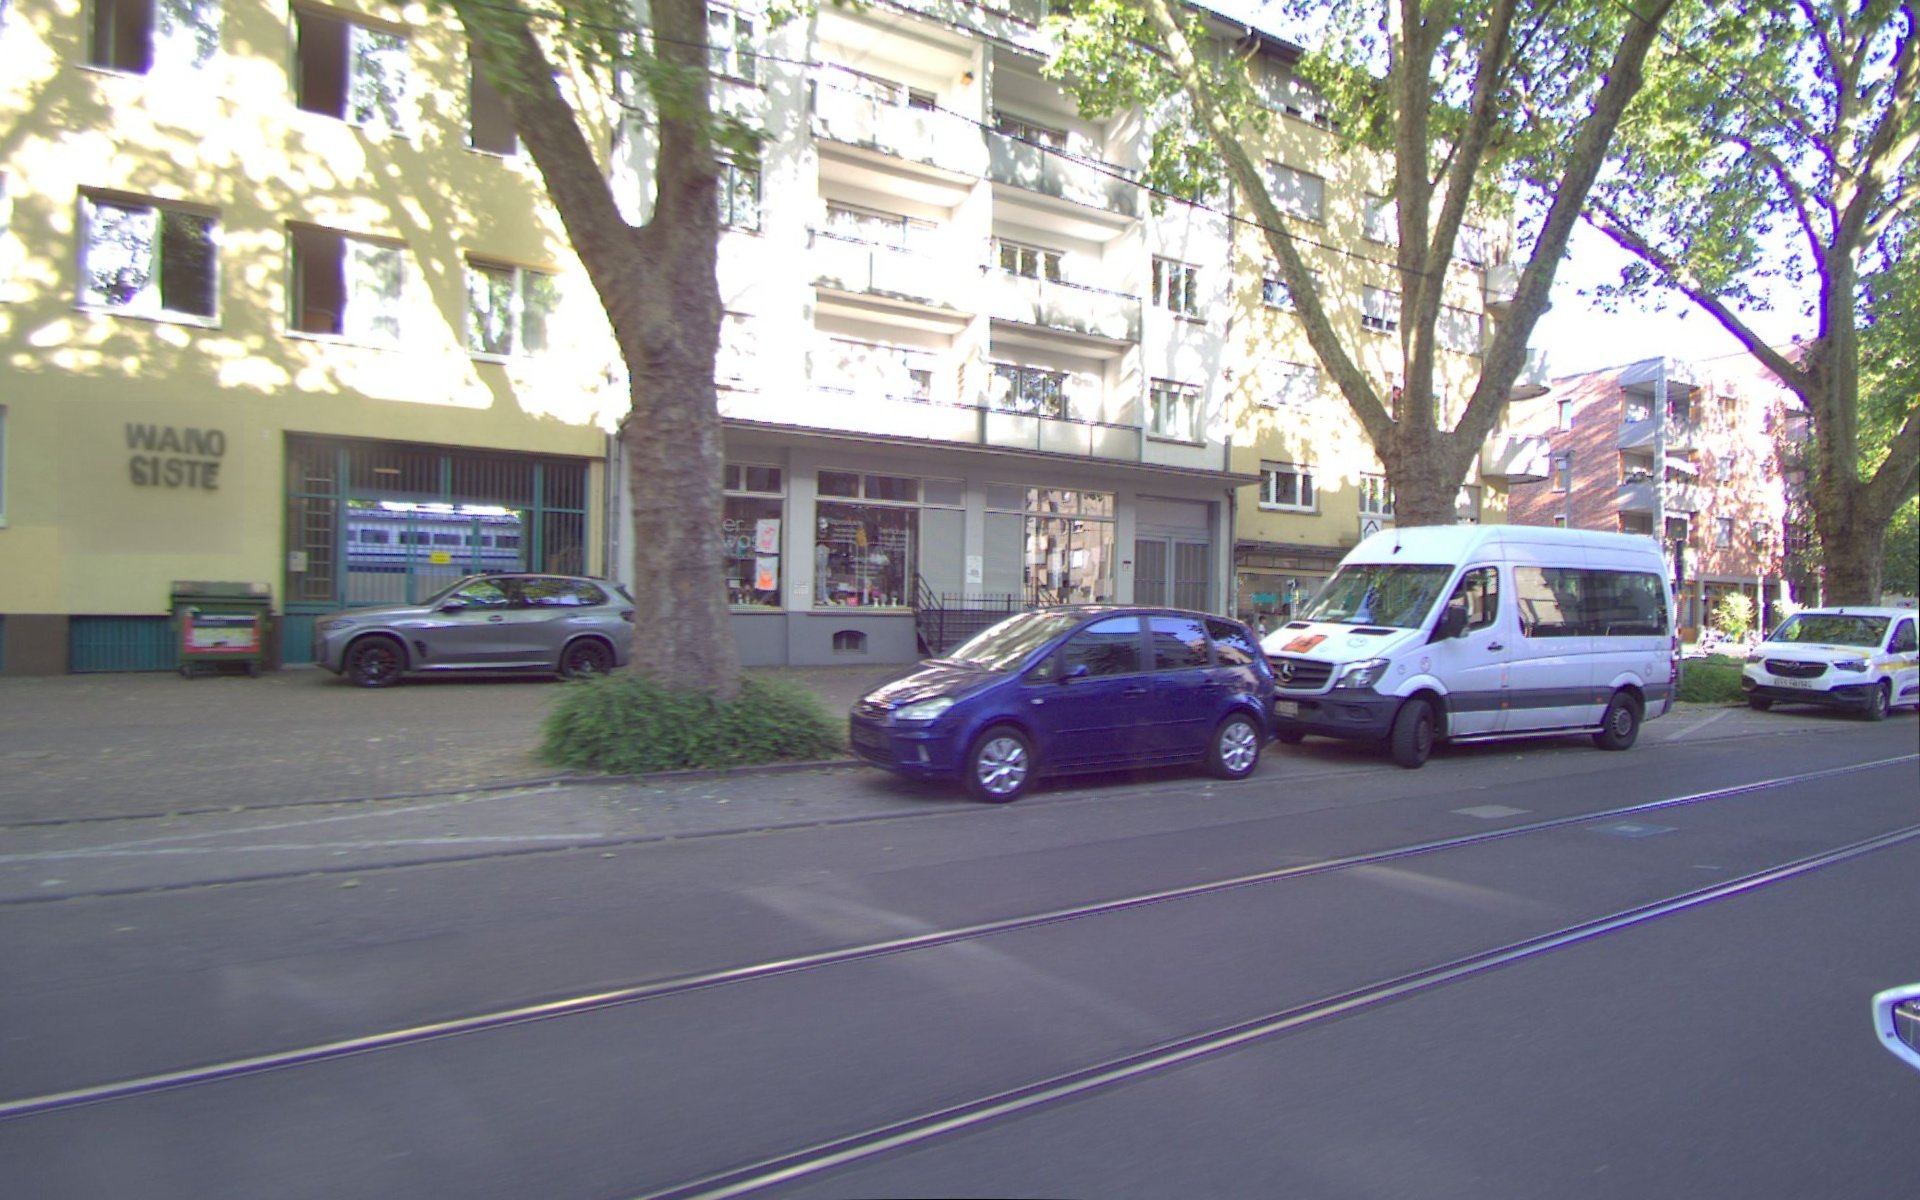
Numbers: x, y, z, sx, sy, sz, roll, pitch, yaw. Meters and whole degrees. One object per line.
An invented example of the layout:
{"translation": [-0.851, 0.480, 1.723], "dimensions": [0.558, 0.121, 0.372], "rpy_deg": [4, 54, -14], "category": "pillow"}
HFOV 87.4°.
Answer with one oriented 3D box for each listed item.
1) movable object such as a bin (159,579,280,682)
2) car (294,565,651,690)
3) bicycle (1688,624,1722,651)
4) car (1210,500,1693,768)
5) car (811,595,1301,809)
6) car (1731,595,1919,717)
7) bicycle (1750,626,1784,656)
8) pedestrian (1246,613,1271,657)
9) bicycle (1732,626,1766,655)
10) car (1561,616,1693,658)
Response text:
{"translation": [-11.505, 0.464, 15.679], "dimensions": [1.327, 1.522, 1.225], "rpy_deg": [1, 0, -29], "category": "movable object such as a bin"}
{"translation": [-7.654, 0.431, 16.136], "dimensions": [4.837, 1.756, 1.985], "rpy_deg": [2, 0, -28], "category": "car"}
{"translation": [31.640, 1.590, 42.666], "dimensions": [1.619, 1.099, 0.539], "rpy_deg": [-1, 1, -30], "category": "bicycle"}
{"translation": [6.032, 0.401, 12.114], "dimensions": [5.947, 2.612, 2.100], "rpy_deg": [2, 0, -28], "category": "car"}
{"translation": [0.952, 0.812, 9.395], "dimensions": [4.233, 1.582, 1.908], "rpy_deg": [2, 0, -30], "category": "car"}
{"translation": [15.356, 0.919, 17.351], "dimensions": [4.268, 1.875, 1.754], "rpy_deg": [2, 0, -31], "category": "car"}
{"translation": [32.584, 1.651, 40.548], "dimensions": [1.518, 1.099, 0.539], "rpy_deg": [-2, 2, -30], "category": "bicycle"}
{"translation": [7.746, 0.912, 26.049], "dimensions": [0.434, 1.120, 0.417], "rpy_deg": [1, 0, -38], "category": "pedestrian"}
{"translation": [32.290, 1.633, 41.100], "dimensions": [1.619, 1.099, 0.539], "rpy_deg": [-1, 1, -30], "category": "bicycle"}
{"translation": [26.789, 1.459, 40.483], "dimensions": [1.976, 1.528, 3.969], "rpy_deg": [2, 0, -29], "category": "car"}
